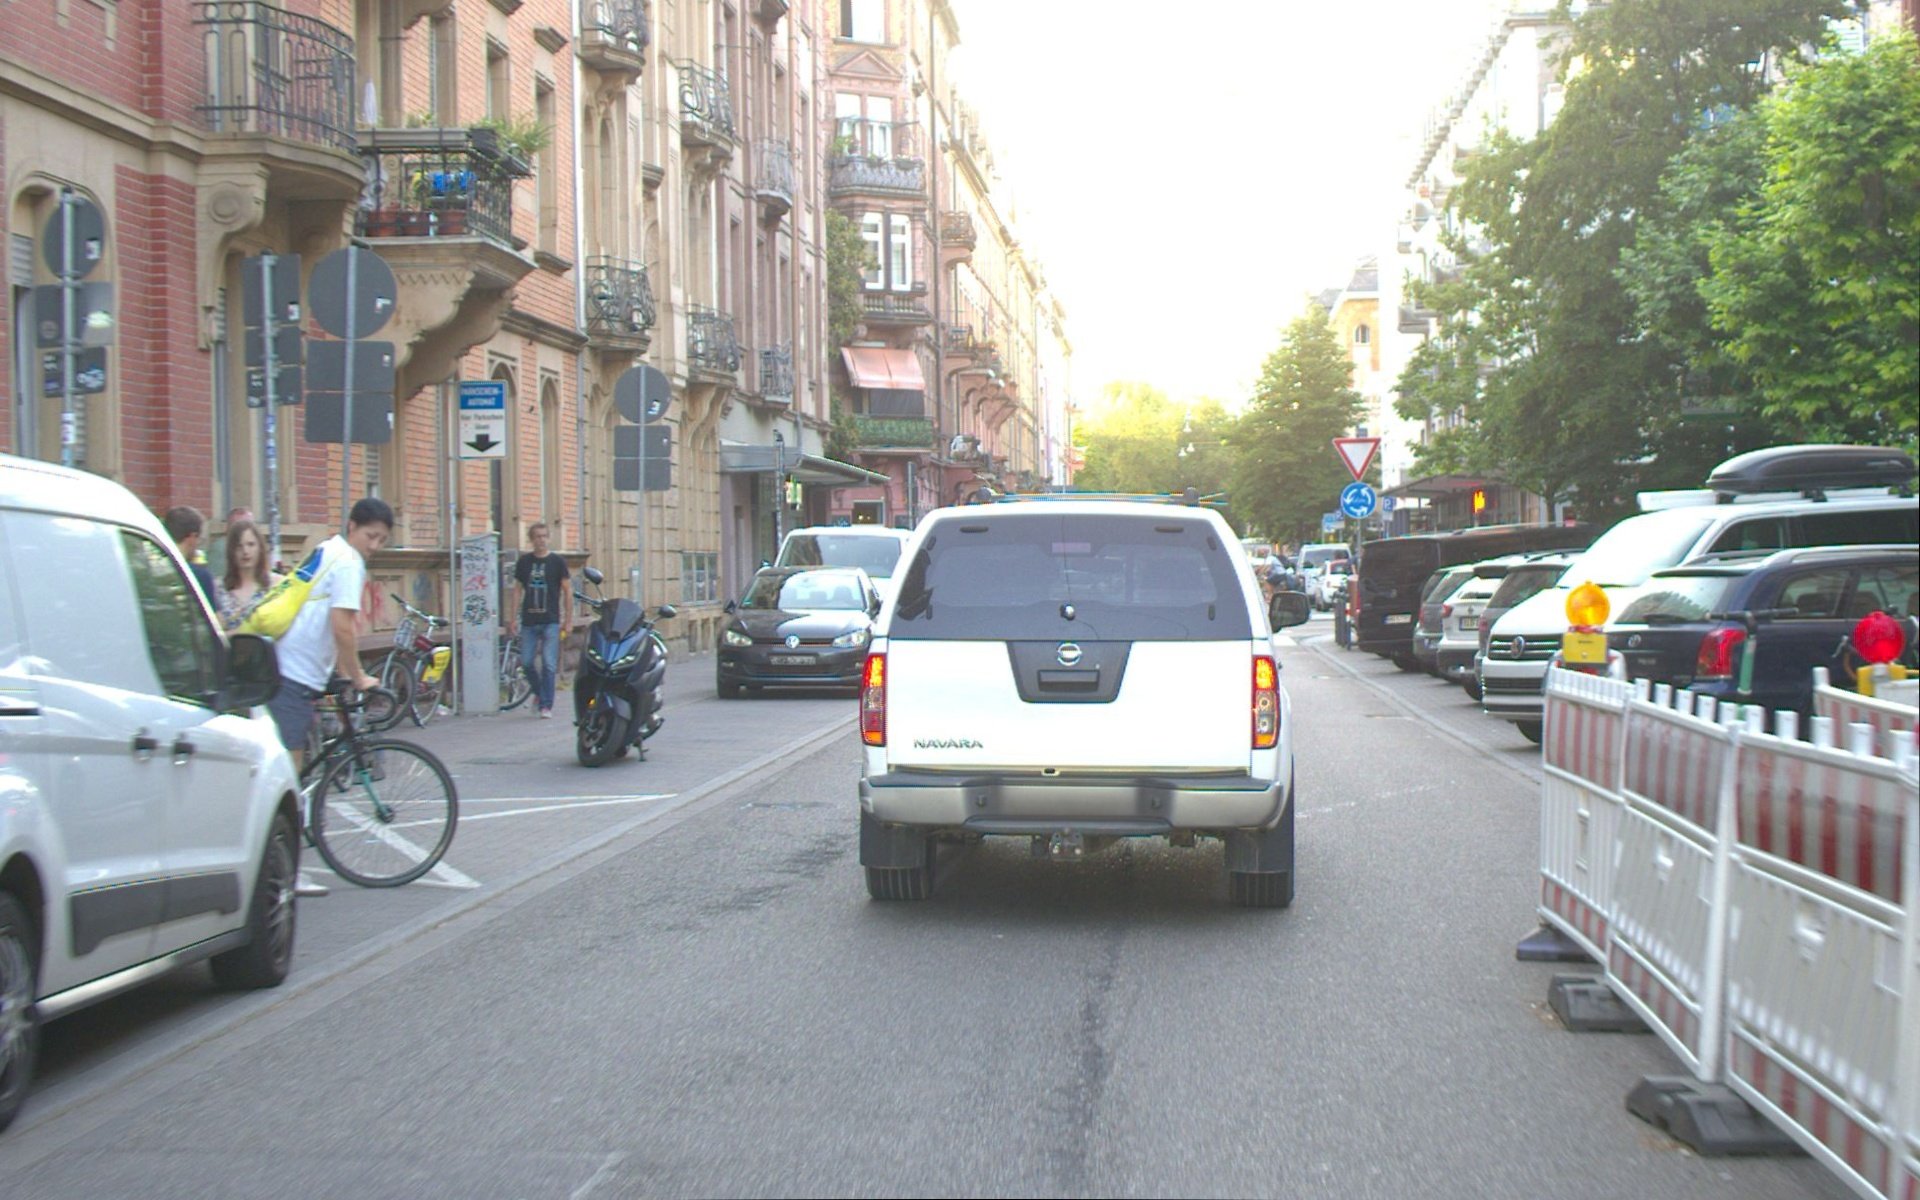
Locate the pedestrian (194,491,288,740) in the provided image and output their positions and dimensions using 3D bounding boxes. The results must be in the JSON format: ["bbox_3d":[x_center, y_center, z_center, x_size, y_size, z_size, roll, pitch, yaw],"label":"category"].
[{"bbox_3d":[-5.235,0.112,25.039,0.463,1.783,0.641,1,0,7],"label":"pedestrian"}]

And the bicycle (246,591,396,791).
[{"bbox_3d":[-3.869,0.528,20.914,0.412,1.156,1.837,1,0,5],"label":"bicycle"}]

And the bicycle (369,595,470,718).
[{"bbox_3d":[-4.675,0.476,29.814,0.448,1.026,1.740,1,0,5],"label":"bicycle"}]

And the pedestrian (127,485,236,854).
[{"bbox_3d":[-3.644,0.322,16.103,0.418,1.703,0.350,1,0,-1],"label":"pedestrian"}]

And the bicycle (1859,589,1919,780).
[{"bbox_3d":[6.209,0.513,20.446,0.495,1.132,1.814,-3,2,-30],"label":"bicycle"}]

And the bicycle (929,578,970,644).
[{"bbox_3d":[-0.179,0.194,60.220,0.471,1.138,1.784,1,0,7],"label":"bicycle"}]

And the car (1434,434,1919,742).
[{"bbox_3d":[6.598,-0.151,28.413,4.921,2.354,2.000,-2,1,-22],"label":"car"}]

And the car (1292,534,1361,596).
[{"bbox_3d":[11.705,-1.114,110.065,1.943,1.927,4.000,1,0,3],"label":"car"}]

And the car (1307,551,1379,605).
[{"bbox_3d":[11.267,-0.634,101.297,1.835,1.536,4.000,1,0,3],"label":"car"}]

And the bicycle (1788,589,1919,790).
[{"bbox_3d":[5.666,0.516,20.126,0.495,1.132,1.814,-3,2,-27],"label":"bicycle"}]

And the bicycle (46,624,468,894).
[{"bbox_3d":[-3.119,0.695,15.264,1.776,1.151,0.521,1,0,-18],"label":"bicycle"}]

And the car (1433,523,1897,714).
[{"bbox_3d":[6.970,0.148,33.943,4.153,1.585,1.886,-4,2,-27],"label":"car"}]

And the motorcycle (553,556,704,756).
[{"bbox_3d":[-2.412,0.390,25.212,0.685,1.400,2.014,1,0,6],"label":"motorcycle"}]

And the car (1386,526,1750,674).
[{"bbox_3d":[7.516,-0.014,42.438,4.095,1.546,1.819,-4,1,-27],"label":"car"}]

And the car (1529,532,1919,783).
[{"bbox_3d":[5.961,0.318,22.895,3.854,1.511,1.848,-2,1,-22],"label":"car"}]

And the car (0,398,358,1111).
[{"bbox_3d":[-3.215,0.375,10.550,1.770,1.783,4.587,0,0,2],"label":"car"}]

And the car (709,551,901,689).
[{"bbox_3d":[-1.691,0.190,38.796,1.837,1.466,4.172,0,1,2],"label":"car"}]

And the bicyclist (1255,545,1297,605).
[{"bbox_3d":[7.758,-0.604,84.366,0.872,1.461,0.575,1,0,24],"label":"bicyclist"}]

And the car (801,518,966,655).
[{"bbox_3d":[-1.073,-0.218,50.721,2.109,1.915,5.025,0,1,2],"label":"car"}]

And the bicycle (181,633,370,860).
[{"bbox_3d":[-3.419,0.710,17.274,0.466,1.064,1.520,1,0,7],"label":"bicycle"}]

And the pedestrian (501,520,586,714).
[{"bbox_3d":[-3.936,0.159,32.541,0.682,1.804,0.961,1,0,-1],"label":"pedestrian"}]

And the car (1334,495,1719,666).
[{"bbox_3d":[8.024,-0.296,48.431,5.420,2.065,1.933,-4,2,-34],"label":"car"}]

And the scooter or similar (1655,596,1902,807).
[{"bbox_3d":[4.766,0.568,20.096,0.654,1.146,1.485,-3,1,-20],"label":"scooter or similar"}]

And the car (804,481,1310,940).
[{"bbox_3d":[0.632,0.429,16.238,1.938,1.804,4.999,1,0,7],"label":"car"}]

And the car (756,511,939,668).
[{"bbox_3d":[-1.394,-0.155,44.582,1.837,1.915,4.845,0,1,5],"label":"car"}]

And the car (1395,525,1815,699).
[{"bbox_3d":[6.925,0.103,36.873,4.095,1.585,1.819,-4,1,-27],"label":"car"}]

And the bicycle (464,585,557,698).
[{"bbox_3d":[-4.509,0.400,34.582,0.749,1.097,2.026,1,0,-3],"label":"bicycle"}]

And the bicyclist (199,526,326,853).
[{"bbox_3d":[-3.442,0.434,16.984,0.466,1.585,0.487,1,0,7],"label":"bicyclist"}]

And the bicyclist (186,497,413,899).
[{"bbox_3d":[-2.870,0.409,14.950,0.788,1.698,0.528,1,0,27],"label":"bicyclist"}]

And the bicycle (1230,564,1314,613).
[{"bbox_3d":[7.658,-0.289,84.400,1.932,1.167,0.595,1,0,24],"label":"bicycle"}]

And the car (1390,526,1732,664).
[{"bbox_3d":[7.893,-0.077,45.097,4.095,1.546,1.819,-4,1,-27],"label":"car"}]
